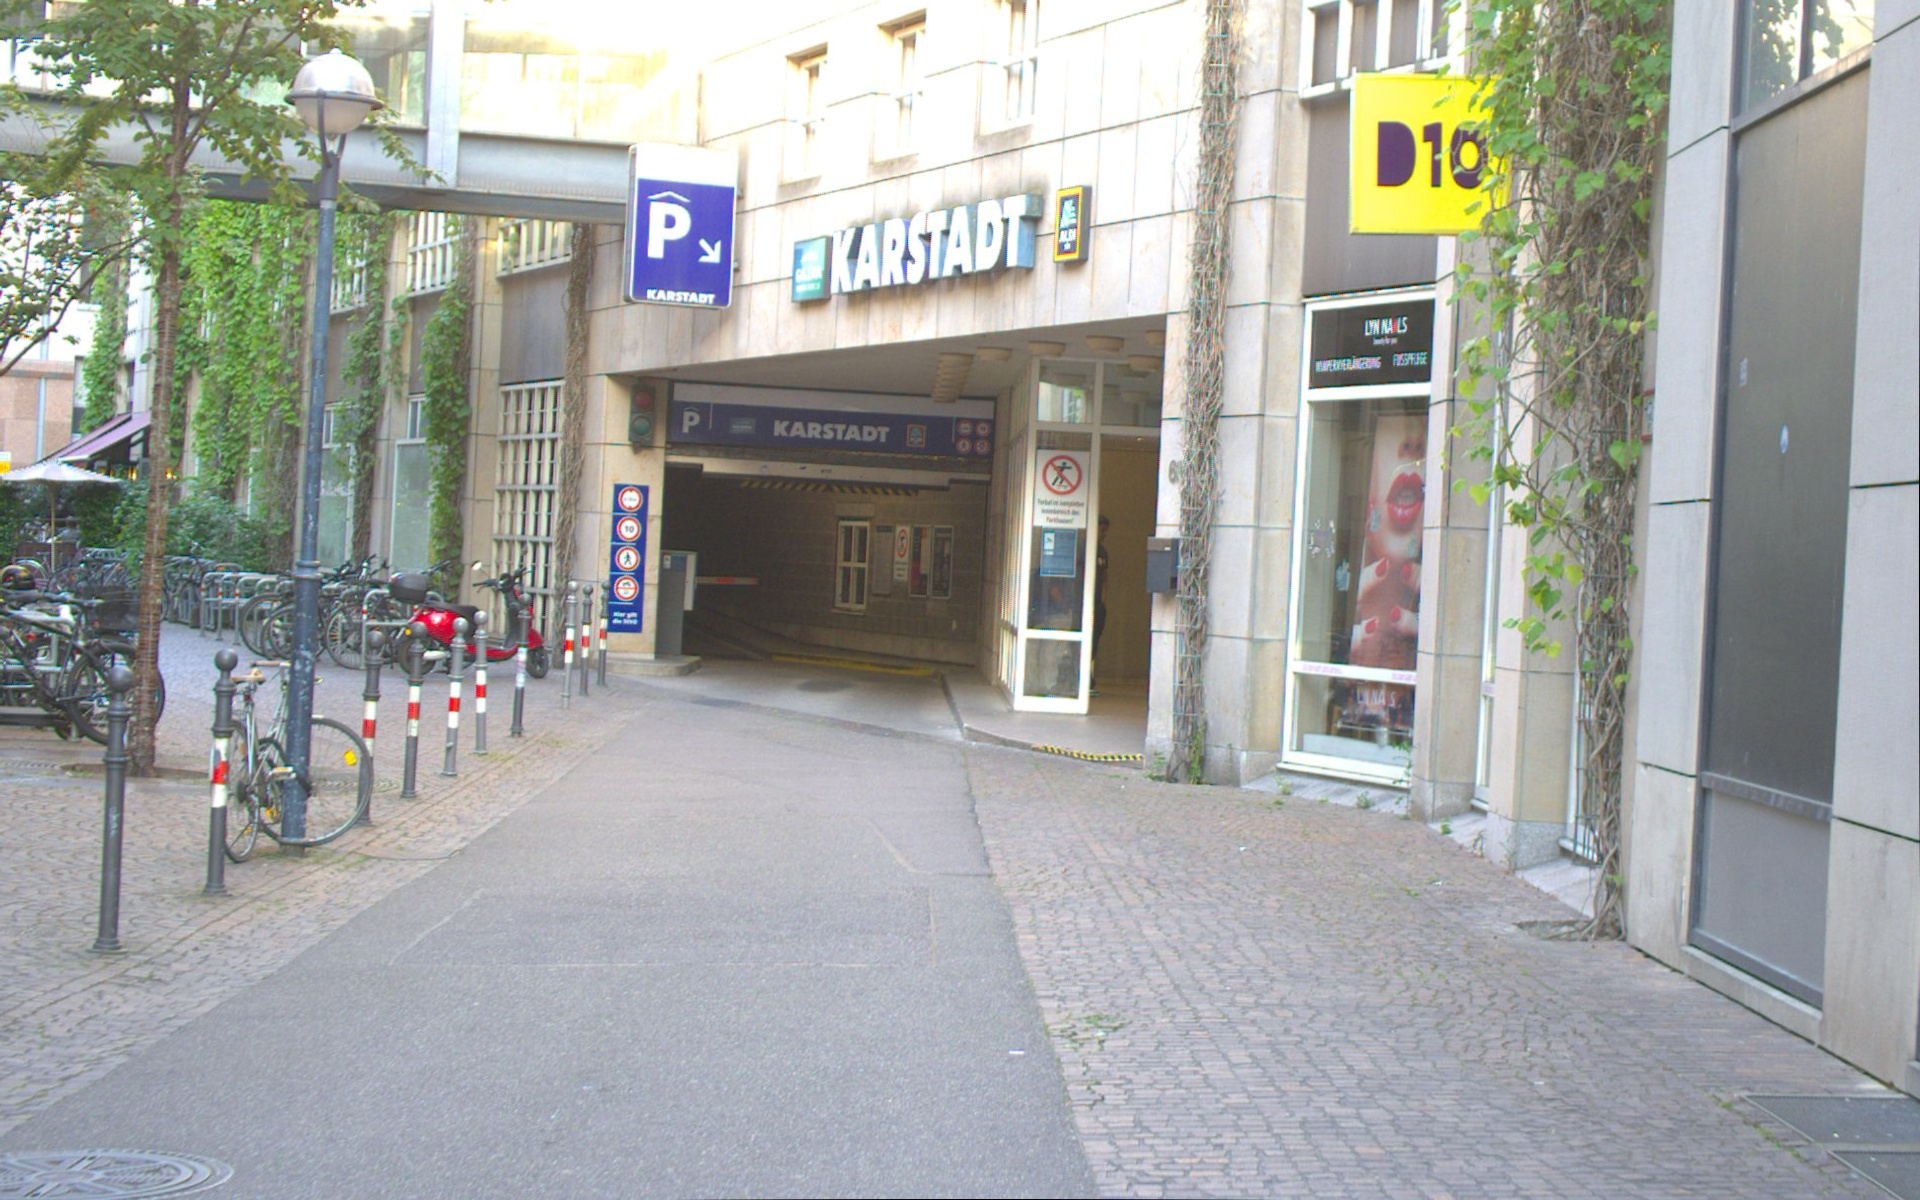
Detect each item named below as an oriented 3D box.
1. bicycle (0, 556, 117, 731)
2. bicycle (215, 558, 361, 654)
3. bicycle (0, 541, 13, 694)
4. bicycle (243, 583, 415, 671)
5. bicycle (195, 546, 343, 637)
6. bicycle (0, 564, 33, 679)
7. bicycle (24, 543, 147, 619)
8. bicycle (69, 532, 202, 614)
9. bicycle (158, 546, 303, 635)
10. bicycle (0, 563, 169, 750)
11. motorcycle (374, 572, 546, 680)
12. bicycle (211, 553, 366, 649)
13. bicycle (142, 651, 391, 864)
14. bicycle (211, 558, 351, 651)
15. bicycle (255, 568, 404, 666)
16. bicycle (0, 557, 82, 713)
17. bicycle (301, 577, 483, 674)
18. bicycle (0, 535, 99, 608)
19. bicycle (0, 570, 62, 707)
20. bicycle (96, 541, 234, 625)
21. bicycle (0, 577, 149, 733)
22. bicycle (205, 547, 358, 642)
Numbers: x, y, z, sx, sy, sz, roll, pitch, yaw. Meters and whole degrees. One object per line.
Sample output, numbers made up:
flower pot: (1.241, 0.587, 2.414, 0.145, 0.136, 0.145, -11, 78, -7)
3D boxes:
bicycle: (-6.914, 0.299, 24.506, 1.653, 1.226, 0.534, 2, 1, -24)
bicycle: (-7.766, 0.067, 39.718, 1.539, 1.045, 0.575, 2, 1, -22)
bicycle: (-8.558, 0.112, 27.458, 1.833, 1.221, 0.534, 1, 1, -24)
bicycle: (-6.934, 0.302, 37.814, 1.773, 0.901, 0.464, 2, 1, -22)
bicycle: (-8.951, -0.110, 44.535, 1.773, 1.110, 0.543, 2, 1, -22)
bicycle: (-9.440, 0.175, 31.223, 1.876, 1.039, 0.534, 1, 1, -24)
bicycle: (-13.602, -0.296, 53.486, 1.773, 1.110, 0.543, 2, 1, -19)
bicycle: (-11.887, -0.387, 49.553, 1.773, 1.110, 0.543, 2, 1, -22)
bicycle: (-9.656, -0.120, 45.502, 1.773, 1.110, 0.543, 2, 1, -22)
bicycle: (-6.296, 0.373, 23.186, 1.766, 1.226, 0.534, 2, 1, -24)
motorcycle: (-5.145, 0.268, 35.392, 1.662, 1.047, 0.464, 2, 1, -22)
bicycle: (-8.255, 0.011, 42.277, 1.773, 1.110, 0.543, 2, 1, -22)
bicycle: (-3.379, 0.748, 16.884, 0.493, 0.935, 1.658, 4, 1, 13)
bicycle: (-8.119, 0.056, 41.107, 1.539, 1.045, 0.575, 2, 1, -22)
bicycle: (-7.107, 0.194, 38.758, 1.539, 1.045, 0.575, 2, 1, -22)
bicycle: (-7.725, 0.250, 26.275, 1.872, 1.173, 0.534, 1, 1, -24)
bicycle: (-6.106, 0.274, 36.982, 1.847, 0.978, 0.464, 2, 1, -22)
bicycle: (-15.650, -0.495, 58.627, 1.773, 1.186, 0.586, 2, 1, -22)
bicycle: (-8.023, 0.283, 26.799, 1.893, 1.048, 0.534, 1, 1, -24)
bicycle: (-11.047, -0.235, 47.771, 1.773, 1.110, 0.543, 2, 1, -22)
bicycle: (-6.969, 0.396, 25.341, 1.836, 1.118, 0.534, 1, 1, -24)
bicycle: (-8.549, -0.069, 43.342, 1.773, 1.110, 0.543, 2, 1, -22)
